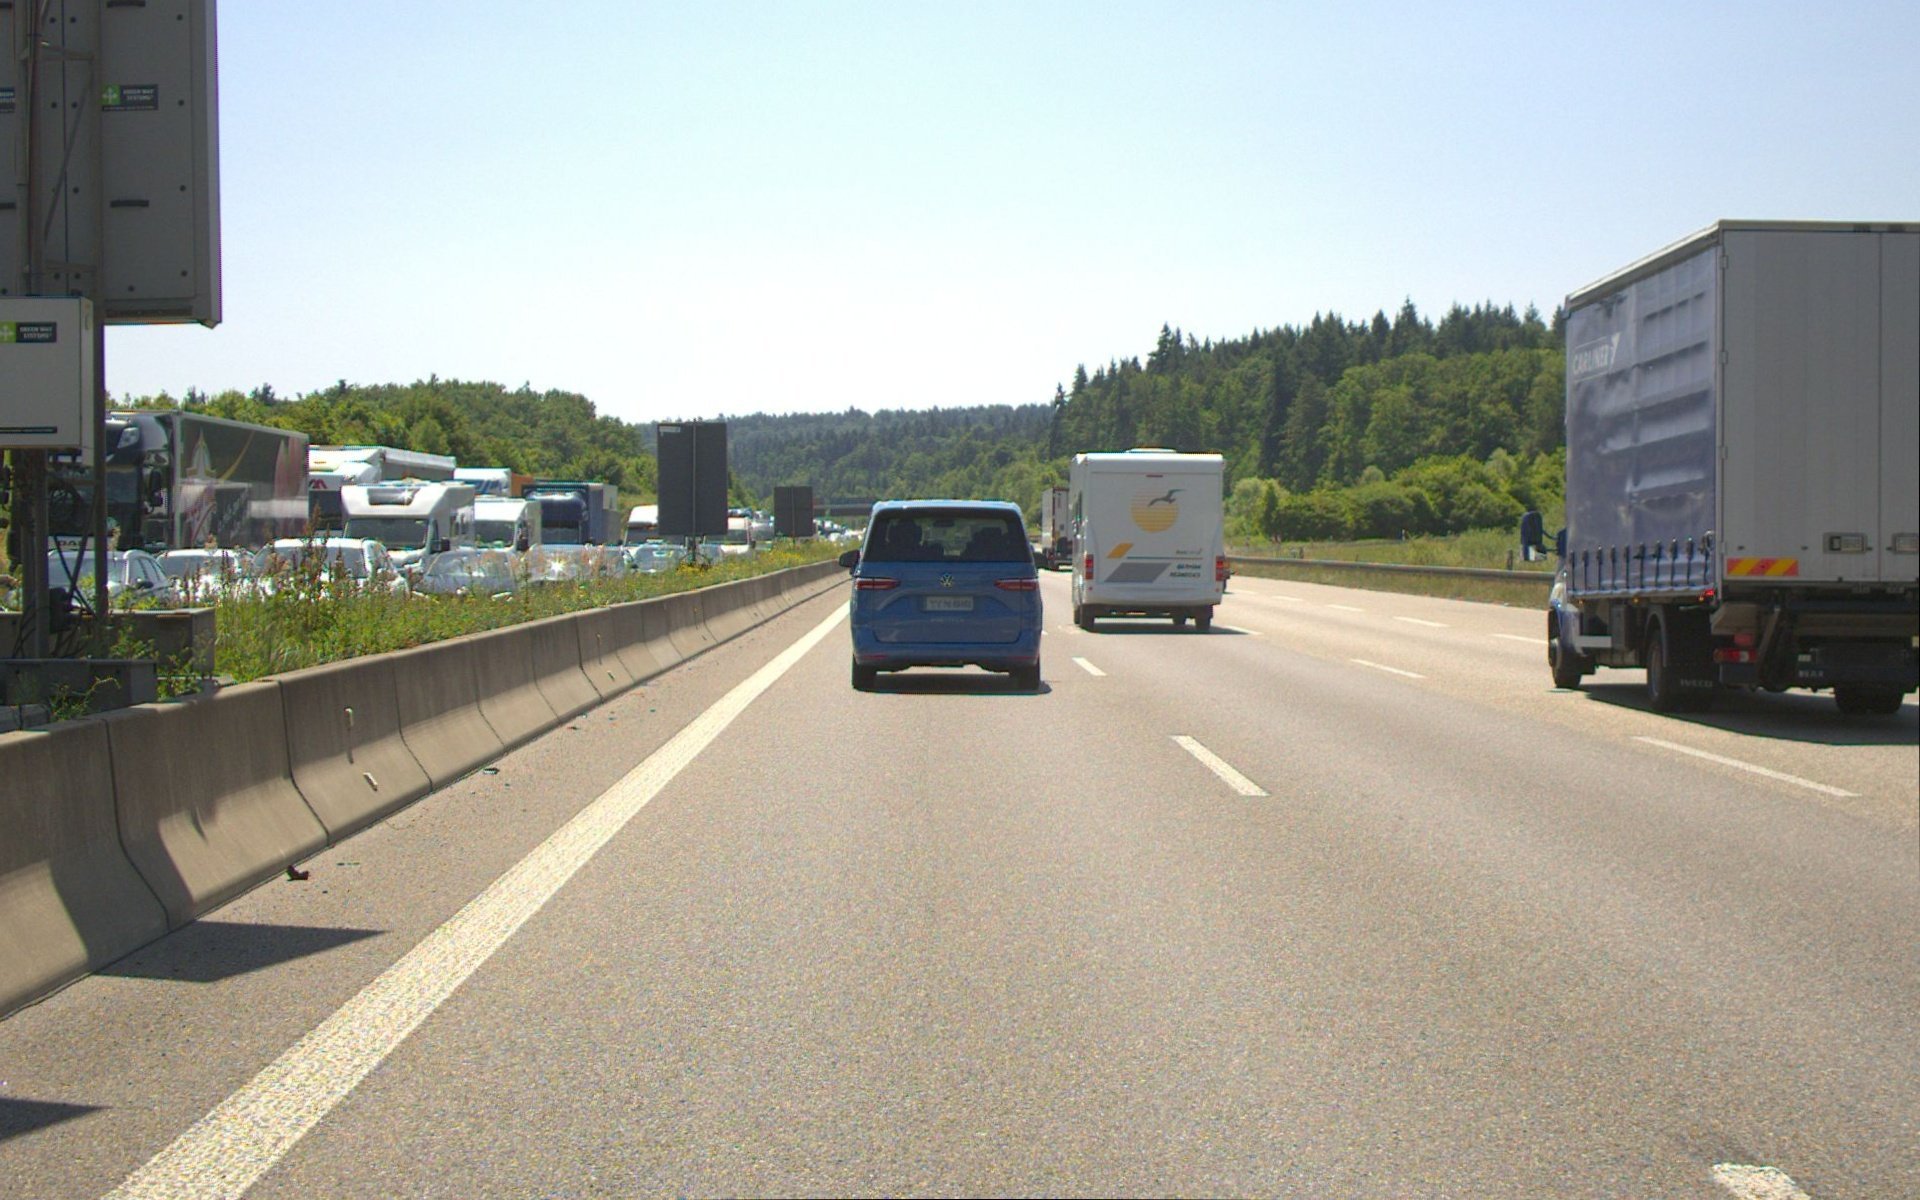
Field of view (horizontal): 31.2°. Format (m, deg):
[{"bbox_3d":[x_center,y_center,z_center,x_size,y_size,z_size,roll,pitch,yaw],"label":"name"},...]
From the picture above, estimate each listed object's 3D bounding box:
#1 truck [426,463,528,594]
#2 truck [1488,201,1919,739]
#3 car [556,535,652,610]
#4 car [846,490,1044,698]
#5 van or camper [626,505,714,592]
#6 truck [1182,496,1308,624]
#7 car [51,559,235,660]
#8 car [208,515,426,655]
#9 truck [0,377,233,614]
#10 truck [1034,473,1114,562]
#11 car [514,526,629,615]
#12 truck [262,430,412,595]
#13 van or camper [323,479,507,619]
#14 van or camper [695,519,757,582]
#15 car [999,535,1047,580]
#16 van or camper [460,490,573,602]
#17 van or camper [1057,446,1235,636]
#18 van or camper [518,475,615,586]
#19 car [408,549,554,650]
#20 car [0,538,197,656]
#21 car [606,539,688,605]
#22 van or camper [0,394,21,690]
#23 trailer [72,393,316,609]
[{"bbox_3d":[-16.515,-2.400,117.922,2.589,4.311,7.294,1,0,-1],"label":"truck"},{"bbox_3d":[7.065,-1.033,31.311,2.783,4.114,9.740,1,0,-1],"label":"truck"},{"bbox_3d":[-8.582,-0.665,83.218,1.811,1.724,4.973,1,0,0],"label":"car"},{"bbox_3d":[-0.181,-0.118,35.192,1.909,2.006,4.001,0,2,-1],"label":"car"},{"bbox_3d":[-8.718,-1.529,103.907,2.193,2.532,6.417,0,0,-1],"label":"van or camper"},{"bbox_3d":[8.297,-1.249,100.916,2.928,3.563,8.527,-1,2,0],"label":"truck"},{"bbox_3d":[-13.158,0.127,55.654,1.811,1.538,4.998,1,0,0],"label":"car"},{"bbox_3d":[-7.981,-0.196,43.093,1.811,1.628,5.030,1,0,0],"label":"car"},{"bbox_3d":[-16.080,-1.931,65.977,2.781,4.290,7.030,0,0,0],"label":"truck"},{"bbox_3d":[5.539,-3.989,168.685,3.487,4.156,8.642,1,0,0],"label":"truck"},{"bbox_3d":[-8.185,-0.623,72.837,1.811,1.803,5.543,1,0,0],"label":"car"},{"bbox_3d":[-16.186,-2.230,89.658,2.801,4.113,6.141,1,0,0],"label":"truck"},{"bbox_3d":[-12.060,-1.112,76.713,2.841,2.938,8.113,1,0,0],"label":"van or camper"},{"bbox_3d":[-9.520,-2.009,140.076,2.193,2.497,6.058,0,0,-1],"label":"van or camper"},{"bbox_3d":[2.558,-1.732,140.297,1.818,1.788,3.894,1,0,-1],"label":"car"},{"bbox_3d":[-12.017,-1.445,93.611,2.151,2.913,7.224,1,0,0],"label":"van or camper"},{"bbox_3d":[3.145,-1.096,59.933,2.603,3.068,7.183,1,2,-1],"label":"van or camper"},{"bbox_3d":[-12.467,-2.171,109.317,2.312,3.378,7.680,0,0,-1],"label":"van or camper"},{"bbox_3d":[-8.135,-0.029,58.822,1.811,1.628,5.030,1,0,0],"label":"car"},{"bbox_3d":[-11.984,-0.067,47.539,1.811,1.531,4.829,1,0,0],"label":"car"},{"bbox_3d":[-8.482,-0.751,93.514,1.811,1.724,4.935,1,0,0],"label":"car"},{"bbox_3d":[-12.156,-0.642,35.664,2.529,3.348,7.943,1,0,1],"label":"van or camper"},{"bbox_3d":[-16.105,-2.001,73.135,2.789,4.226,10.793,-1,0,0],"label":"trailer"}]
